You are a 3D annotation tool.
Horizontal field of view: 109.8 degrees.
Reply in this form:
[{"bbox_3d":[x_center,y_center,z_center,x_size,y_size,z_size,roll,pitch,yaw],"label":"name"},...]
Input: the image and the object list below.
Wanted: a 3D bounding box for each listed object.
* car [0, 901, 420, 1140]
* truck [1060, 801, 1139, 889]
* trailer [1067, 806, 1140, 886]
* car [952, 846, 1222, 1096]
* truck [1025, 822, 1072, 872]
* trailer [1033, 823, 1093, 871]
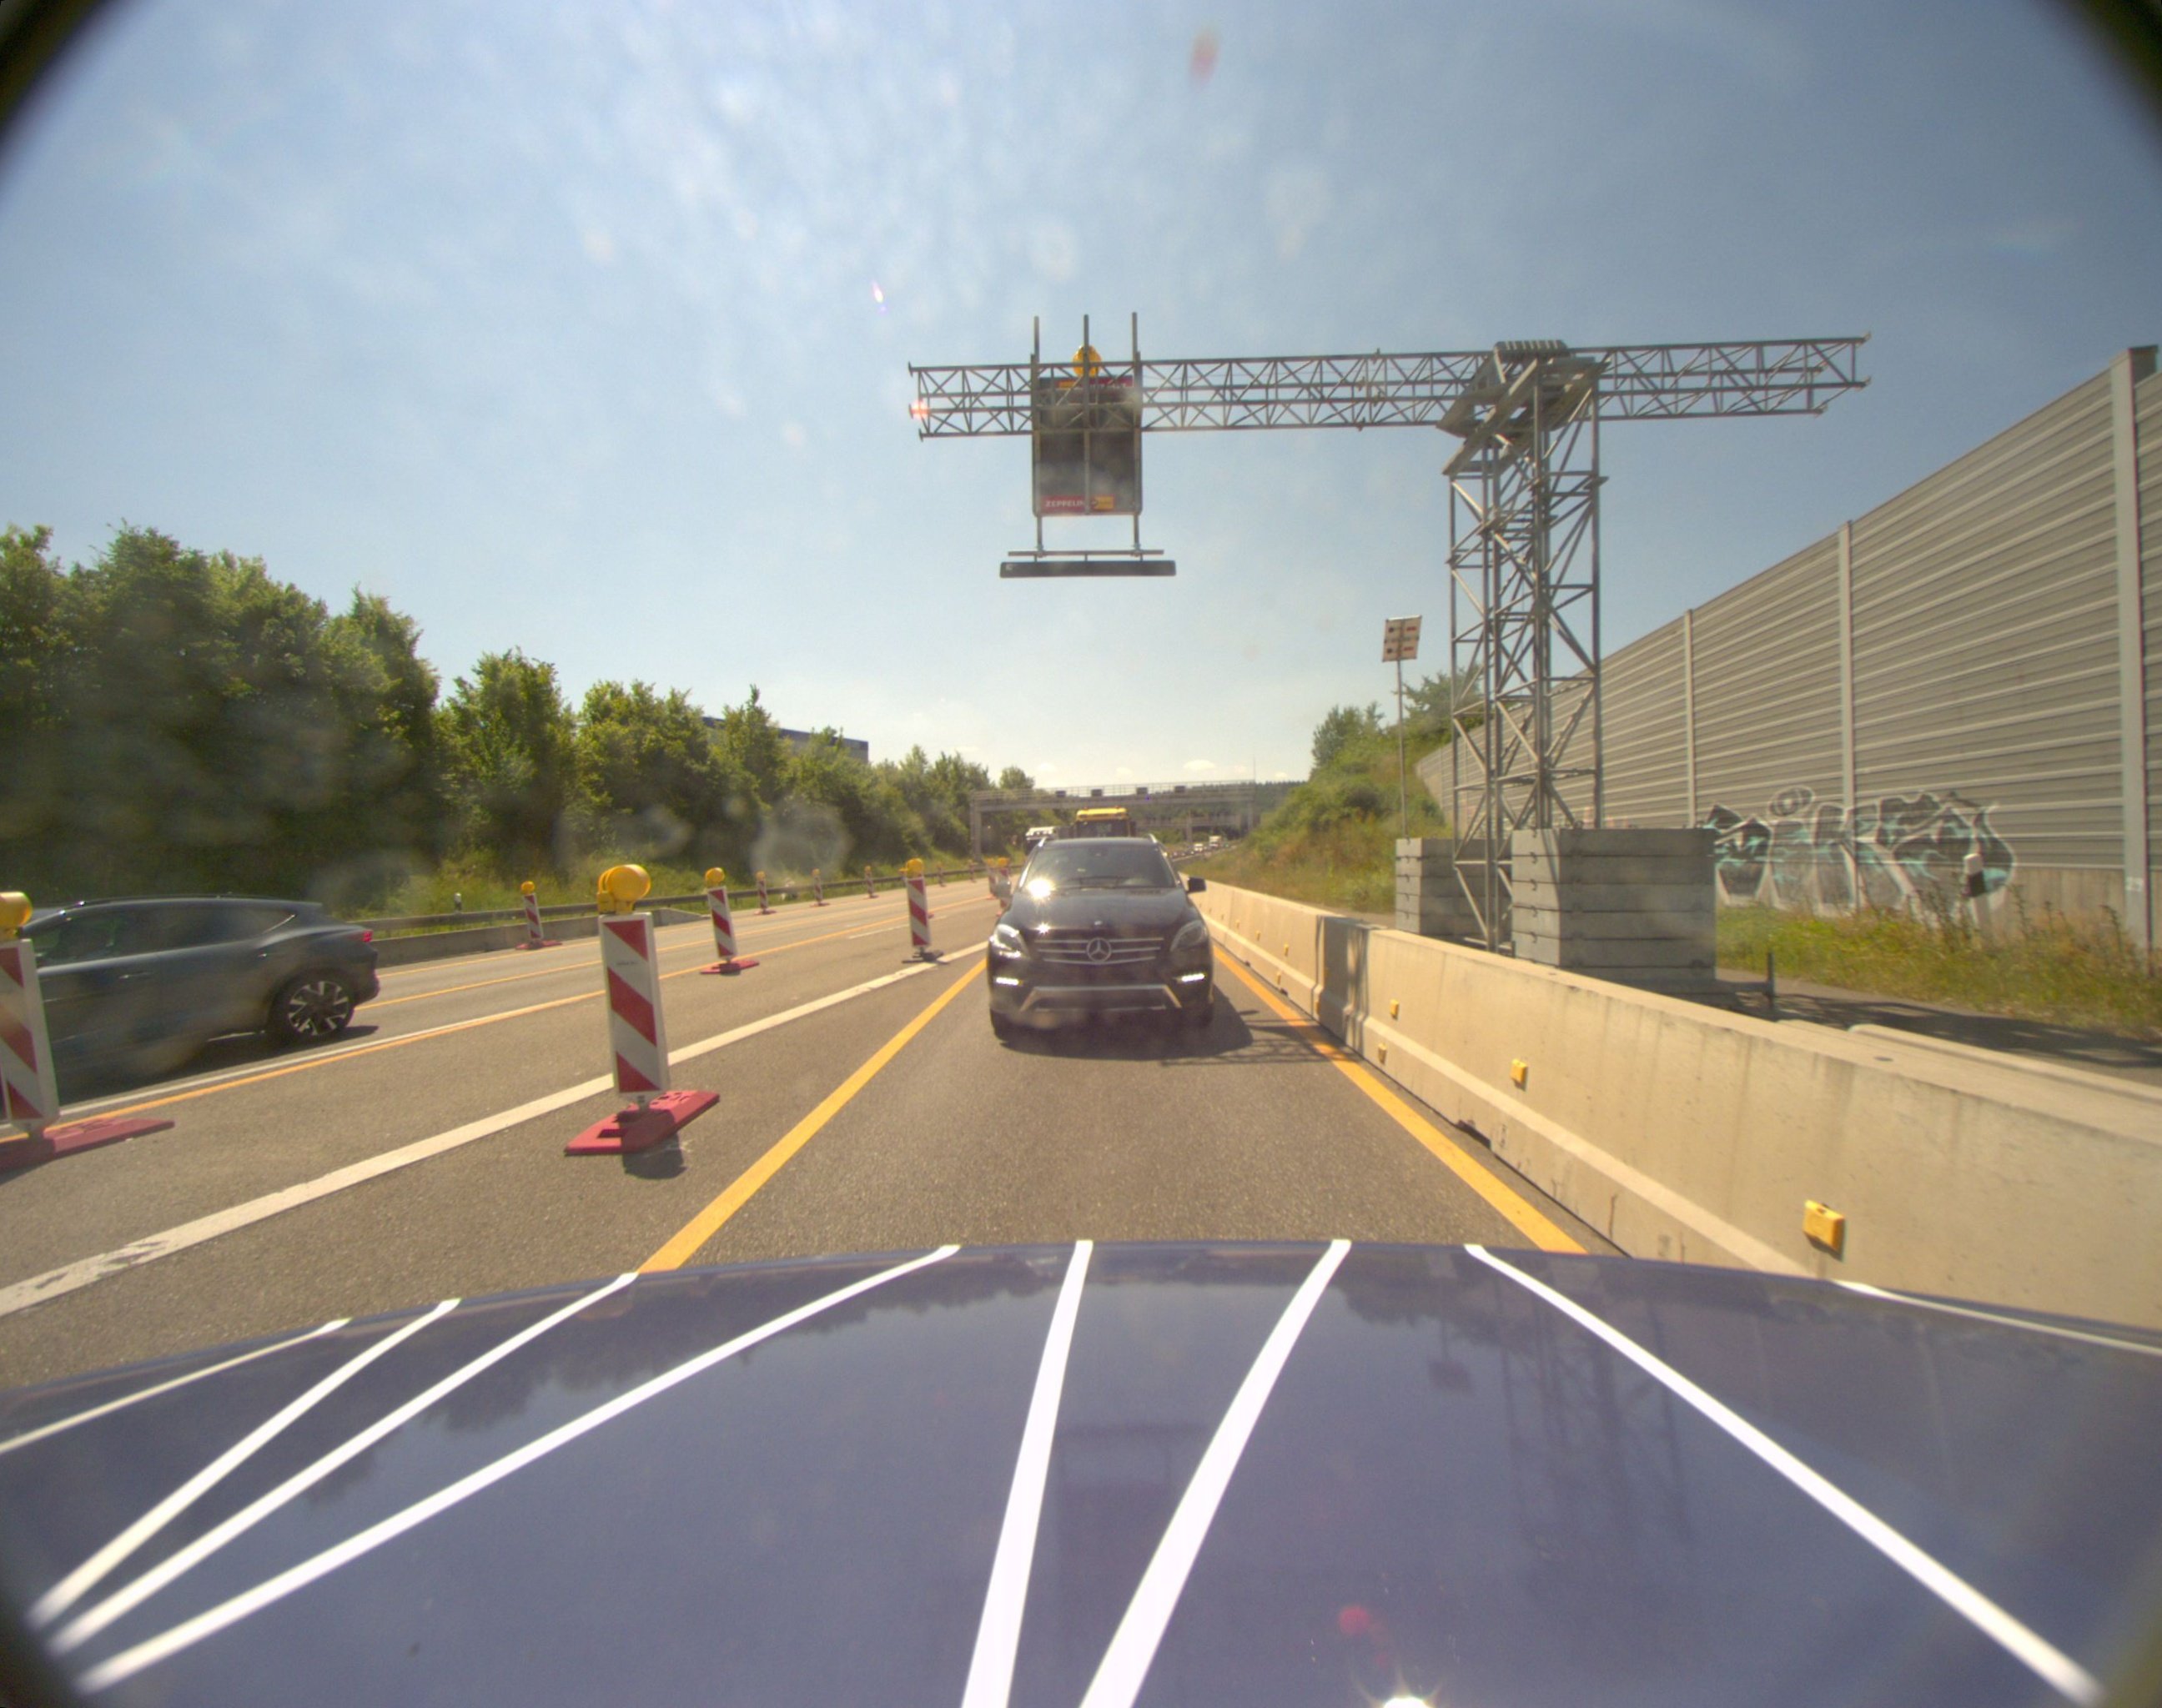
[{"bbox_3d":[-8.562,1.317,6.138,1.998,1.477,4.679,-3,0,6],"label":"car"},{"bbox_3d":[1.078,-0.365,36.459,3.228,3.639,7.085,-3,0,4],"label":"truck"},{"bbox_3d":[1.759,-0.364,45.141,3.235,3.645,17.428,-3,0,5],"label":"trailer"},{"bbox_3d":[0.328,0.818,7.547,1.818,1.685,4.495,-3,1,8],"label":"car"},{"bbox_3d":[-2.725,-0.595,64.775,2.531,3.927,5.603,-3,0,11],"label":"truck"},{"bbox_3d":[-1.437,-0.673,71.459,2.545,3.929,13.879,-3,0,11],"label":"trailer"}]
